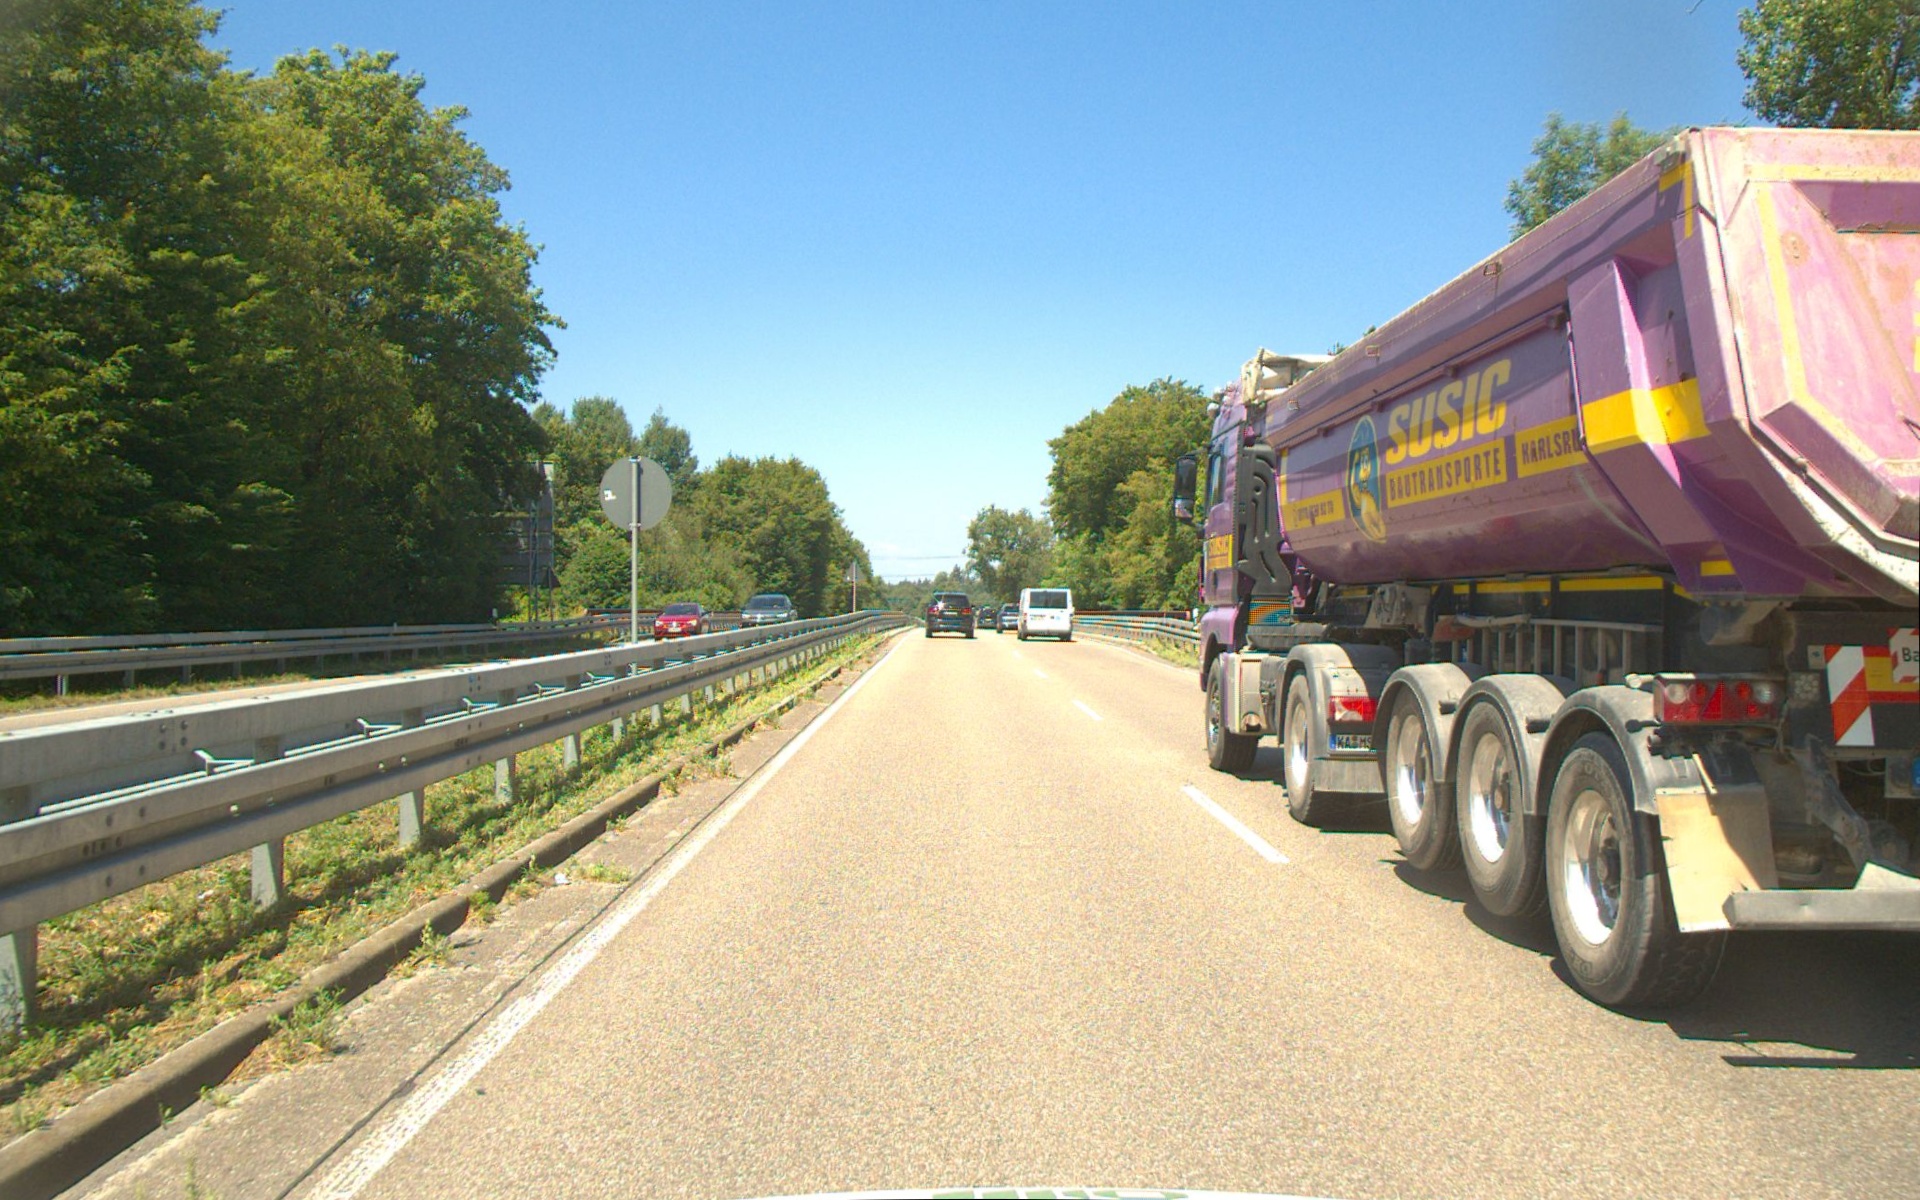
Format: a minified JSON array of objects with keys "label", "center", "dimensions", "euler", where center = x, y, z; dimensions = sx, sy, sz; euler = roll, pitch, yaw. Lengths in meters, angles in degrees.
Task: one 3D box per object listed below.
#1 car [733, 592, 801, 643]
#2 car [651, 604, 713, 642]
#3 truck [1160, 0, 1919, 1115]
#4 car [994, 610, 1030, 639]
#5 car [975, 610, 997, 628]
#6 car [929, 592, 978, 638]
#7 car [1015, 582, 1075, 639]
[{"label":"car","center":[-7.146,0.632,61.722],"dimensions":[1.952,1.825,4.748],"euler":[-1,0,0]},{"label":"car","center":[-10.755,0.858,64.198],"dimensions":[1.760,1.415,3.999],"euler":[-1,0,-1]},{"label":"truck","center":[3.584,-0.468,11.043],"dimensions":[2.665,3.999,12.366],"euler":[1,0,-1]},{"label":"car","center":[2.655,1.233,85.277],"dimensions":[1.571,1.445,3.520],"euler":[-1,0,-3]},{"label":"car","center":[2.127,1.537,137.629],"dimensions":[1.571,1.445,3.520],"euler":[-1,0,-3]},{"label":"car","center":[-0.274,0.632,65.996],"dimensions":[1.820,1.701,3.998],"euler":[2,-2,-2]},{"label":"car","center":[3.250,0.380,63.942],"dimensions":[1.953,2.113,3.998],"euler":[-1,0,-2]}]
